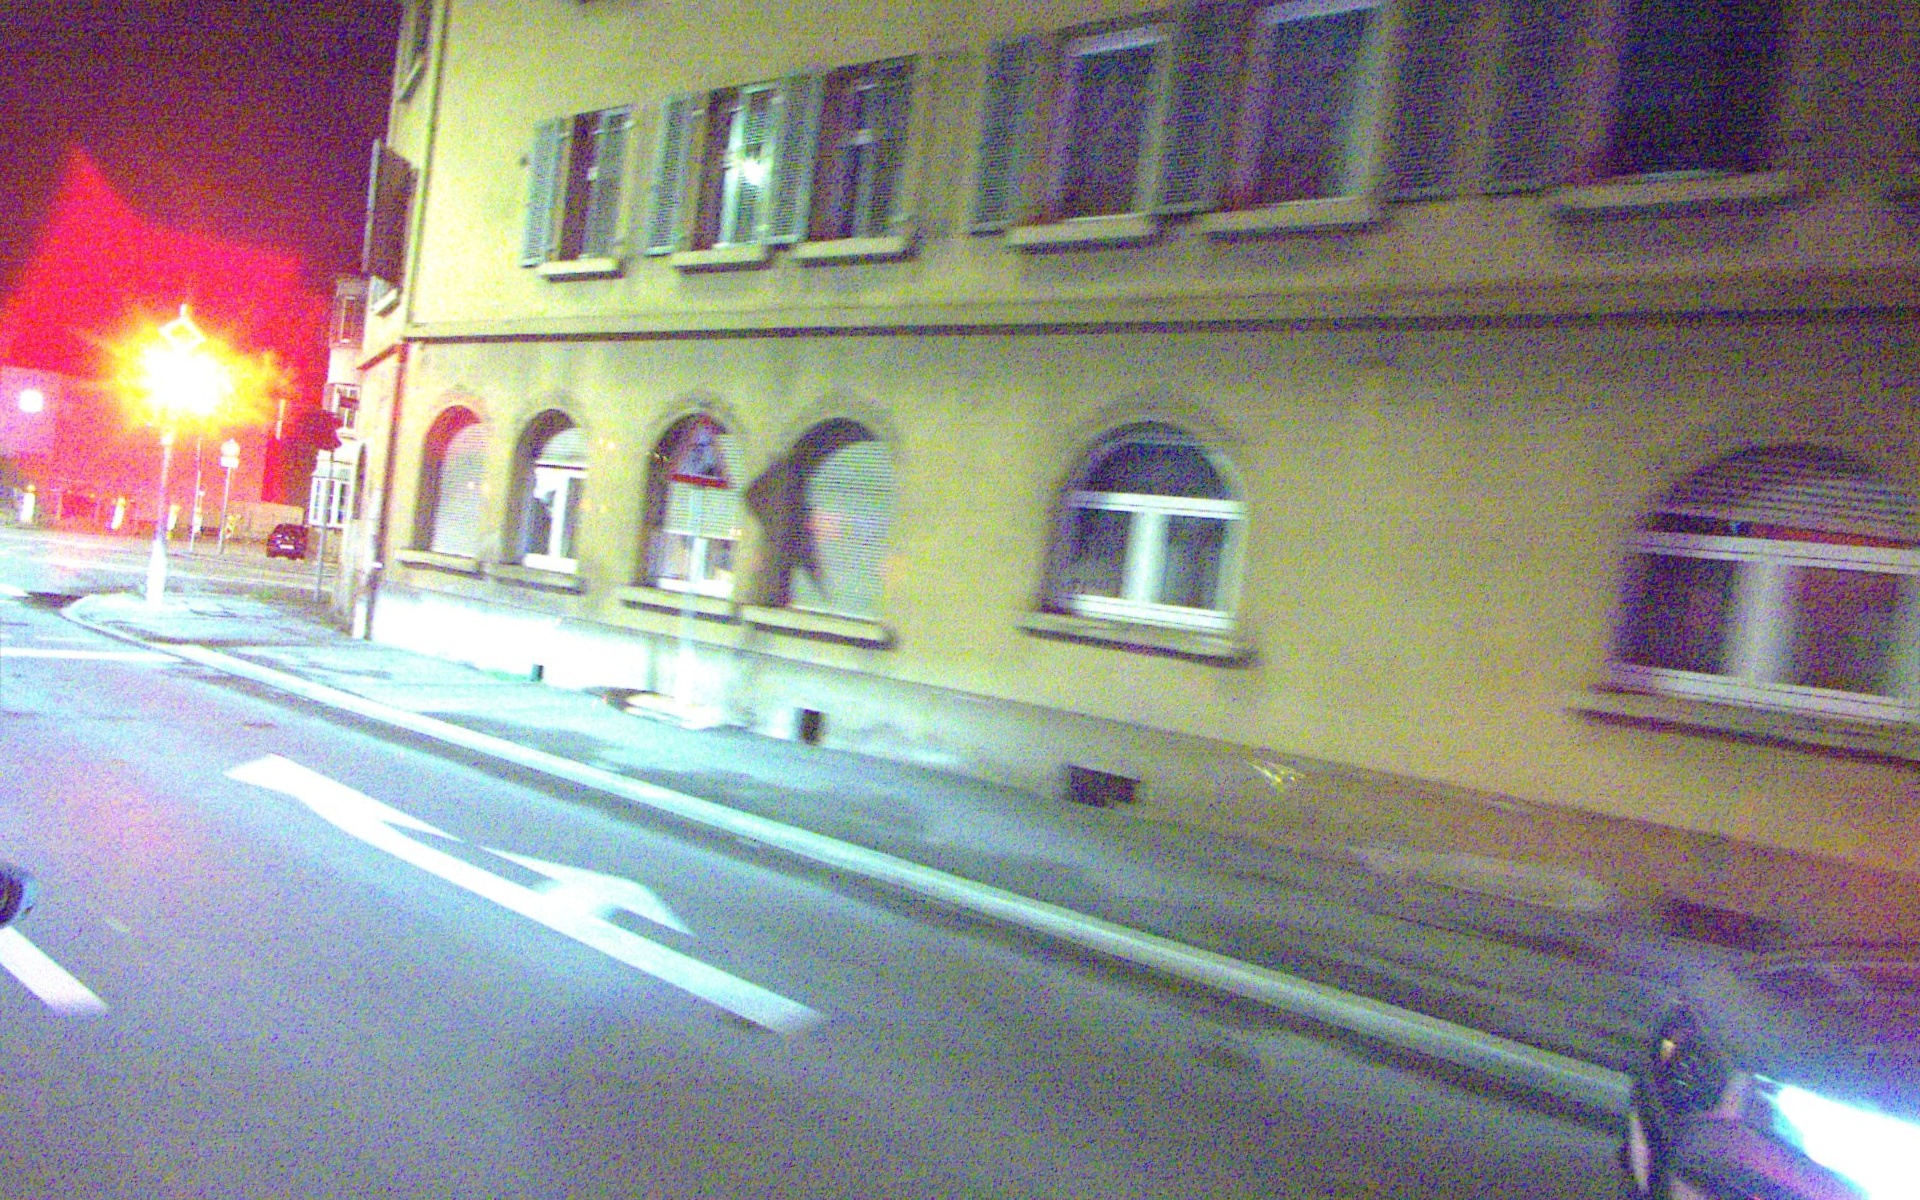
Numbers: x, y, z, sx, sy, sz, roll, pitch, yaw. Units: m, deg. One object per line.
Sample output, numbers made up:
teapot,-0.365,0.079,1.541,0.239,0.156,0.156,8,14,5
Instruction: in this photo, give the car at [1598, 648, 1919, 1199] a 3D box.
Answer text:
car,3.376,1.142,1.278,4.160,1.629,1.673,6,-1,32

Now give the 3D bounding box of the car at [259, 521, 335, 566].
car,-29.199,-2.457,44.432,1.707,1.631,3.611,7,-1,-17
